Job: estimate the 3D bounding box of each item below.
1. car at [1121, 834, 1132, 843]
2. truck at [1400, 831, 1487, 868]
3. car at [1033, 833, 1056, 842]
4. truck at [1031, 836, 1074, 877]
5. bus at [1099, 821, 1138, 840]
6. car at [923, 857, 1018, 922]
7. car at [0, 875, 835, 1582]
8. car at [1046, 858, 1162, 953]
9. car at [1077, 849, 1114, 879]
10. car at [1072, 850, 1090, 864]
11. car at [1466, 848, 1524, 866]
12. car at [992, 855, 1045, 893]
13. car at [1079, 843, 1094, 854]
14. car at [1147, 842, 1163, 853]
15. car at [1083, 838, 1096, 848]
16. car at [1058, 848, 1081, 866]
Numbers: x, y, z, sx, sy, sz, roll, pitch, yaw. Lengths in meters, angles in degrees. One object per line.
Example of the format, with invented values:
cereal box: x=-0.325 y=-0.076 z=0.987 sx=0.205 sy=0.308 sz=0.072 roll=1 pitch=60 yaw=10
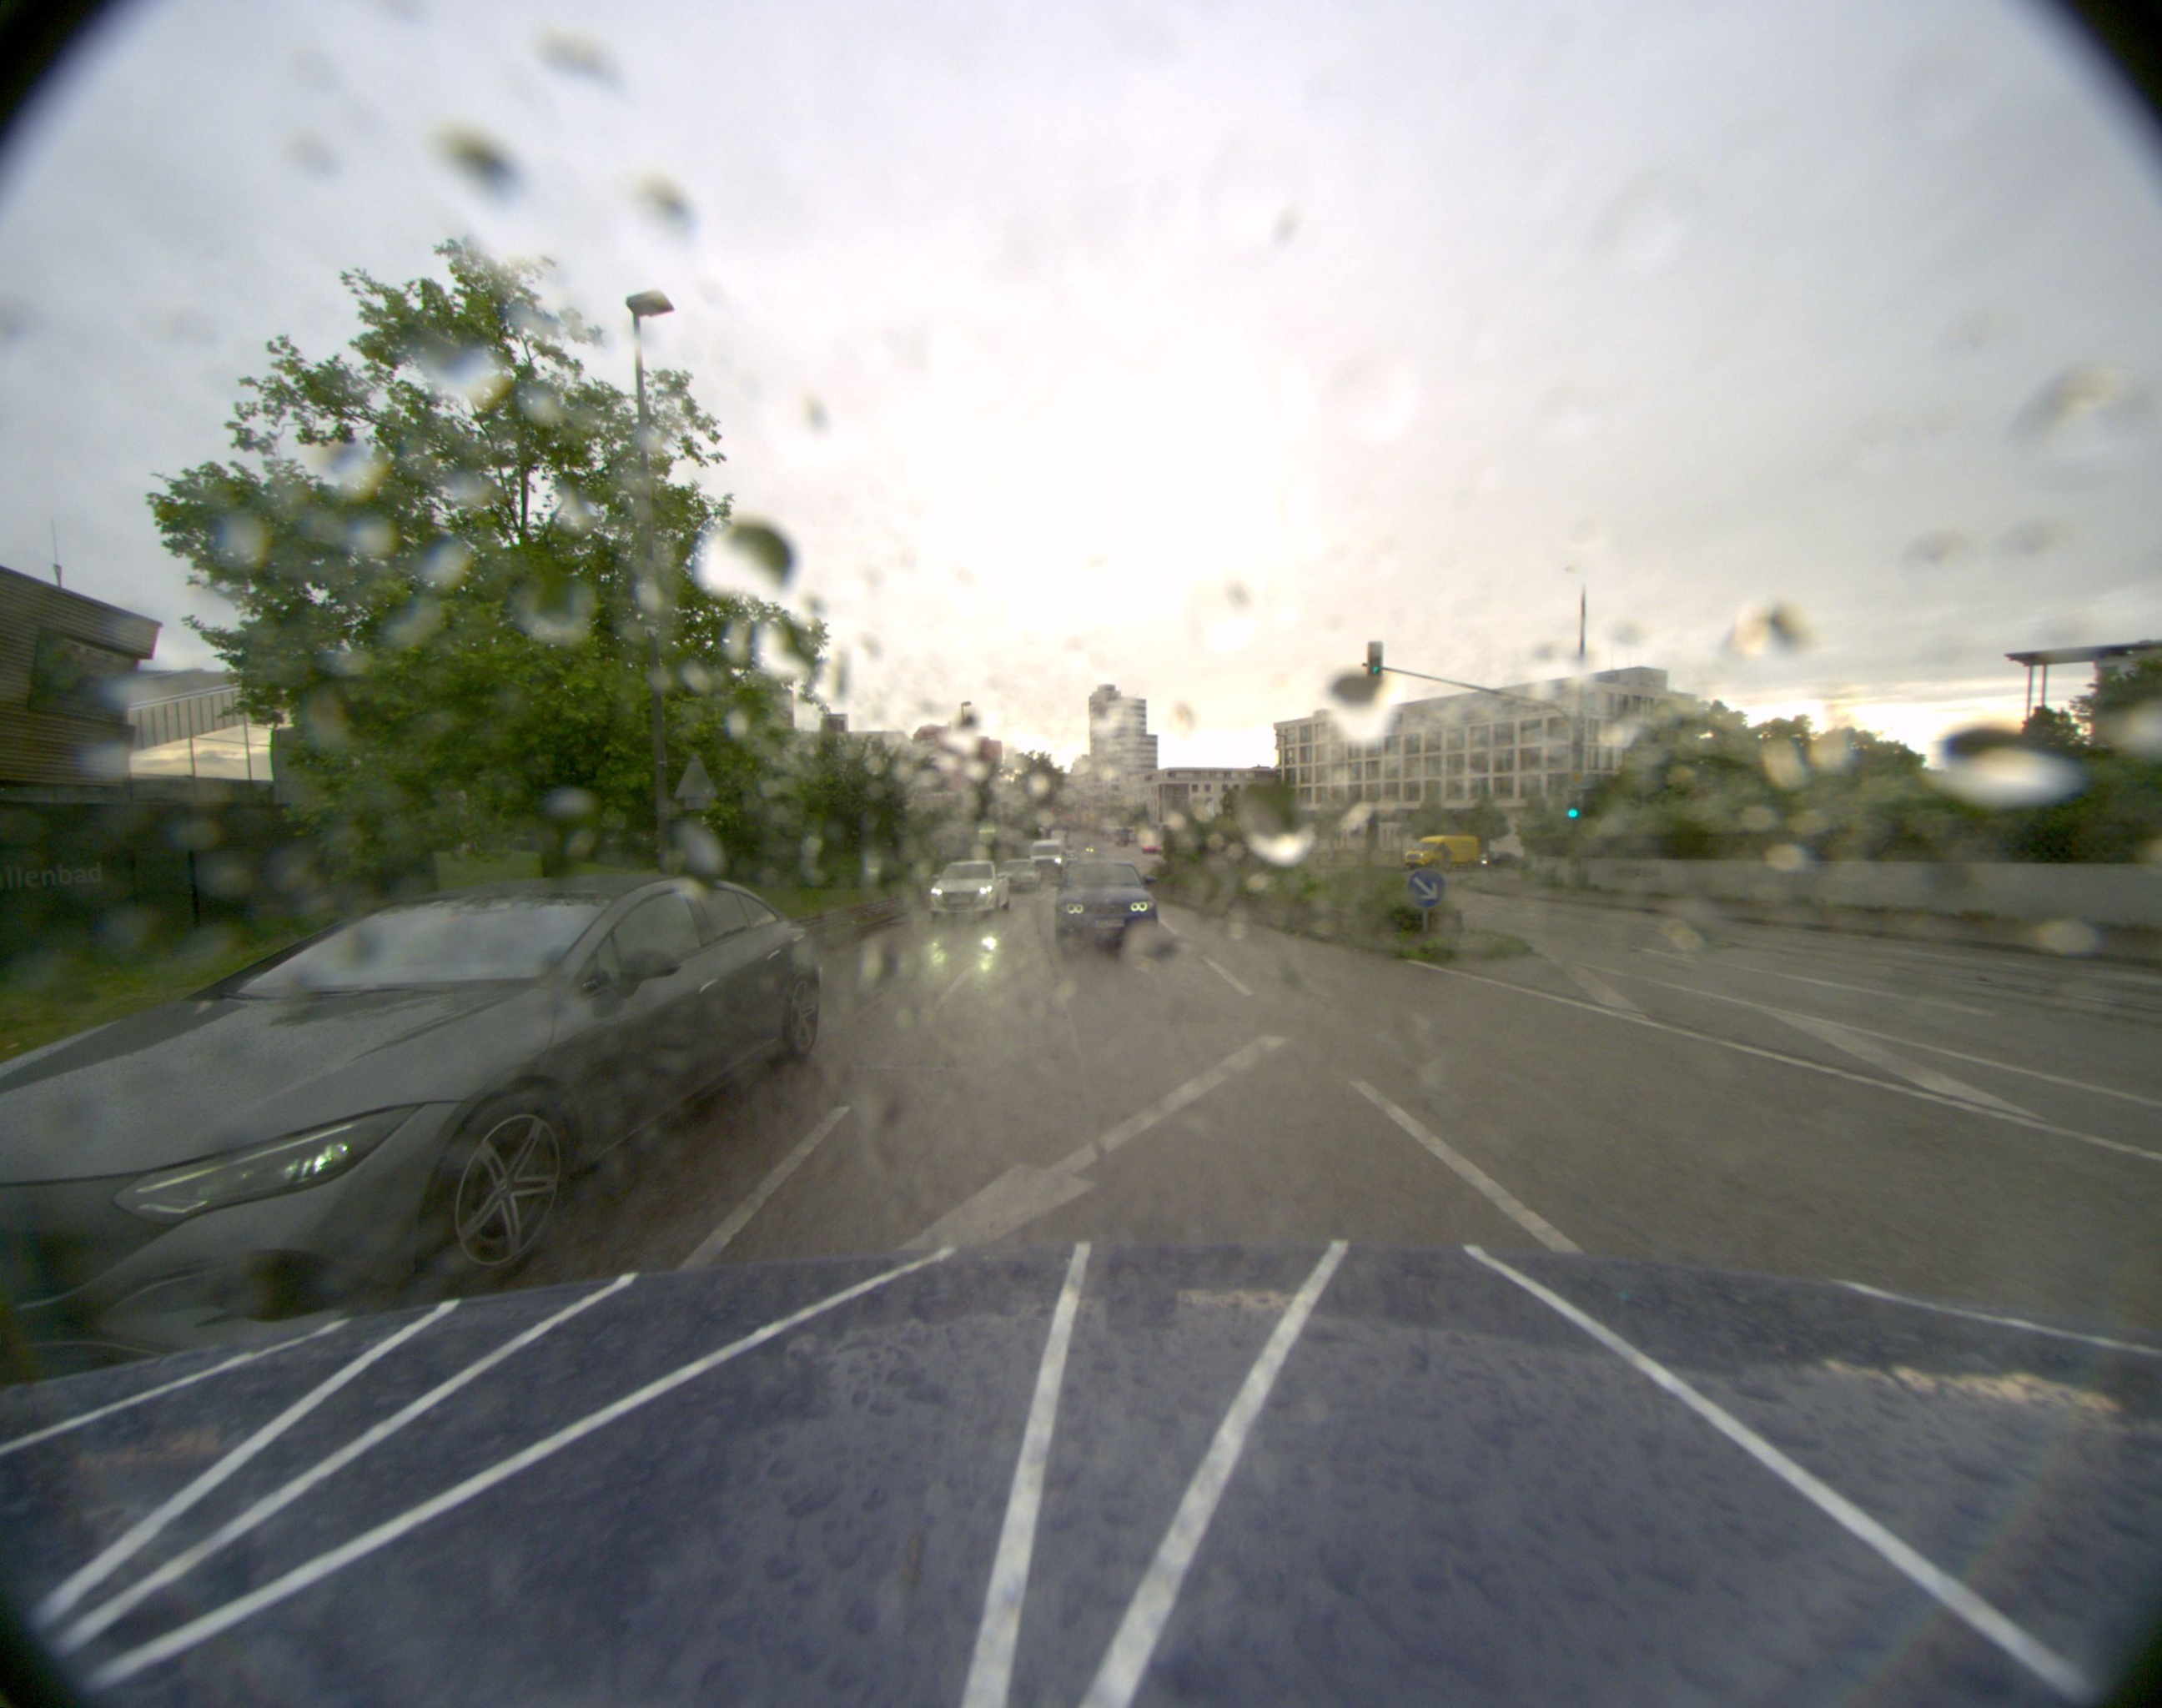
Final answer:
car: x=8.337 y=-2.789 z=139.115 sx=1.907 sy=1.543 sz=4.074 roll=-1 pitch=1 yaw=2
truck: x=25.958 y=-0.336 z=54.421 sx=6.184 sy=2.524 sz=2.223 roll=0 pitch=2 yaw=-27
car: x=-6.420 y=-2.853 z=133.574 sx=3.999 sy=1.412 sz=1.701 roll=-3 pitch=2 yaw=-7
truck: x=-1.795 y=0.089 z=50.181 sx=2.168 sy=2.426 sz=6.199 roll=-2 pitch=2 yaw=3
bus: x=7.995 y=-5.126 z=165.604 sx=2.955 sy=3.973 sz=18.198 roll=0 pitch=2 yaw=-15
car: x=-2.876 y=0.888 z=20.689 sx=1.717 sy=1.389 sz=4.035 roll=-3 pitch=2 yaw=3
car: x=-3.085 y=0.994 z=4.078 sx=1.836 sy=1.436 sz=4.550 roll=-3 pitch=1 yaw=2
car: x=0.474 y=0.826 z=13.883 sx=1.786 sy=1.335 sz=3.704 roll=-2 pitch=2 yaw=3
car: x=0.809 y=0.500 z=40.422 sx=1.717 sy=1.369 sz=3.734 roll=-3 pitch=2 yaw=3
car: x=0.001 y=0.361 z=88.720 sx=1.998 sy=1.543 sz=4.000 roll=-2 pitch=0 yaw=0
car: x=31.752 y=0.198 z=58.303 sx=4.363 sy=1.310 sz=1.860 roll=0 pitch=2 yaw=-30
car: x=-2.625 y=0.823 z=32.677 sx=1.717 sy=1.369 sz=3.734 roll=-3 pitch=2 yaw=3
car: x=0.779 y=-0.783 z=107.428 sx=1.998 sy=1.543 sz=4.000 roll=-2 pitch=0 yaw=0
car: x=10.379 y=-0.899 z=106.386 sx=1.998 sy=1.406 sz=4.430 roll=-1 pitch=2 yaw=2
car: x=1.426 y=-1.746 z=121.210 sx=1.998 sy=1.543 sz=4.000 roll=-2 pitch=0 yaw=0
car: x=-1.068 y=0.277 z=71.513 sx=1.998 sy=1.543 sz=4.000 roll=-2 pitch=1 yaw=0
